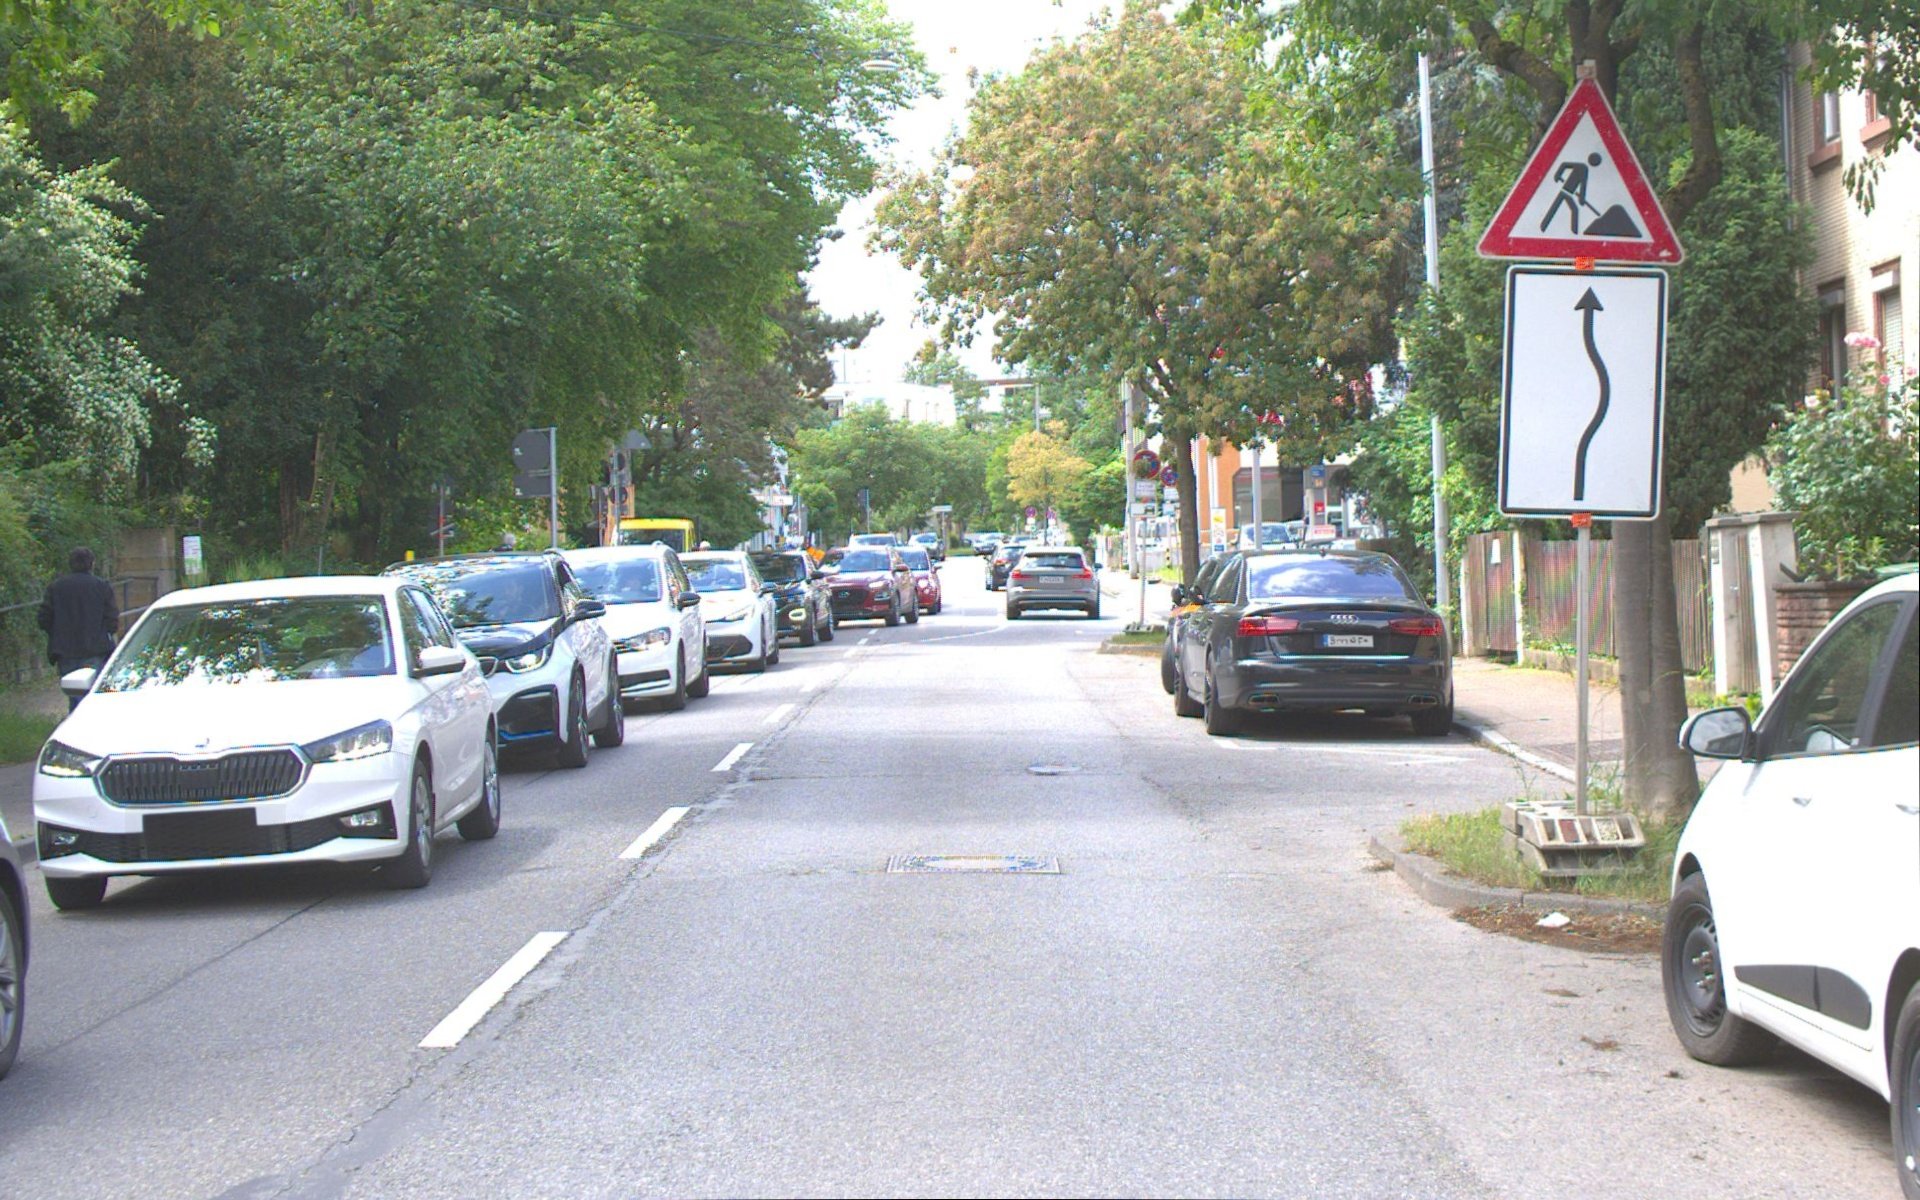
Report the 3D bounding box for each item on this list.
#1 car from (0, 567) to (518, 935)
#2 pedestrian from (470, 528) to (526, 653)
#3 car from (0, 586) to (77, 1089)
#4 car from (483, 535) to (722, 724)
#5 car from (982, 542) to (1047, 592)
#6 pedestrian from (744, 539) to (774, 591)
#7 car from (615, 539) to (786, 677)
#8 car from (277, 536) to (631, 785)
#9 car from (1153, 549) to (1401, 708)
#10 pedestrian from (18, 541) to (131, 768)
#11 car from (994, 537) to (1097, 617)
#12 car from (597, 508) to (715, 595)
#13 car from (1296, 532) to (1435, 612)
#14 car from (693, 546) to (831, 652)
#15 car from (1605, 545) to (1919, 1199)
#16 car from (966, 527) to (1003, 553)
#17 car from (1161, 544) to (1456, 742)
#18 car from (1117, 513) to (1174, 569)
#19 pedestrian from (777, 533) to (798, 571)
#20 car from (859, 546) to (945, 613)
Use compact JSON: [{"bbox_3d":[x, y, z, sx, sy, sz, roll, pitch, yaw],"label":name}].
[{"bbox_3d":[-3.314,0.629,16.744,1.760,1.434,3.970,-3,1,0],"label":"car"},{"bbox_3d":[-6.630,-0.136,49.381,0.714,1.756,1.122,-1,0,-5],"label":"pedestrian"},{"bbox_3d":[-3.690,0.767,8.643,1.709,1.450,4.287,-4,1,0],"label":"car"},{"bbox_3d":[-3.468,0.230,34.088,1.786,1.642,4.491,-3,1,0],"label":"car"},{"bbox_3d":[1.640,-1.018,104.702,1.816,1.495,4.267,0,1,-2],"label":"car"},{"bbox_3d":[-5.623,-0.980,96.158,0.704,1.434,0.714,-1,0,-11],"label":"pedestrian"},{"bbox_3d":[-3.276,0.061,44.123,1.785,1.586,4.154,-3,1,0],"label":"car"},{"bbox_3d":[-3.644,0.375,25.478,1.928,1.541,4.087,-4,1,0],"label":"car"},{"bbox_3d":[2.986,0.223,33.238,1.824,1.412,4.510,0,1,-2],"label":"car"},{"bbox_3d":[-6.643,0.399,25.825,0.653,1.661,0.932,-1,0,-5],"label":"pedestrian"},{"bbox_3d":[1.769,-0.498,69.909,1.976,1.508,4.267,2,1,3],"label":"car"},{"bbox_3d":[-7.275,-1.144,82.765,2.146,1.974,4.930,-1,0,3],"label":"car"},{"bbox_3d":[6.955,-0.510,59.313,1.724,1.312,4.267,-1,1,-2],"label":"car"},{"bbox_3d":[-3.162,-0.051,55.612,1.789,1.536,4.263,-3,1,2],"label":"car"},{"bbox_3d":[2.868,0.619,8.955,1.621,1.502,3.779,-2,1,0],"label":"car"},{"bbox_3d":[1.529,-3.724,212.504,2.111,1.495,4.267,-1,1,3],"label":"car"},{"bbox_3d":[2.738,0.280,28.032,1.801,1.440,4.887,1,1,-1],"label":"car"},{"bbox_3d":[6.872,-2.189,127.811,1.993,2.007,4.000,-1,0,2],"label":"car"},{"bbox_3d":[-6.676,-1.864,132.902,0.705,1.434,0.713,-1,0,4],"label":"pedestrian"},{"bbox_3d":[-1.260,-0.445,75.535,1.691,1.420,3.437,-1,0,2],"label":"car"}]
